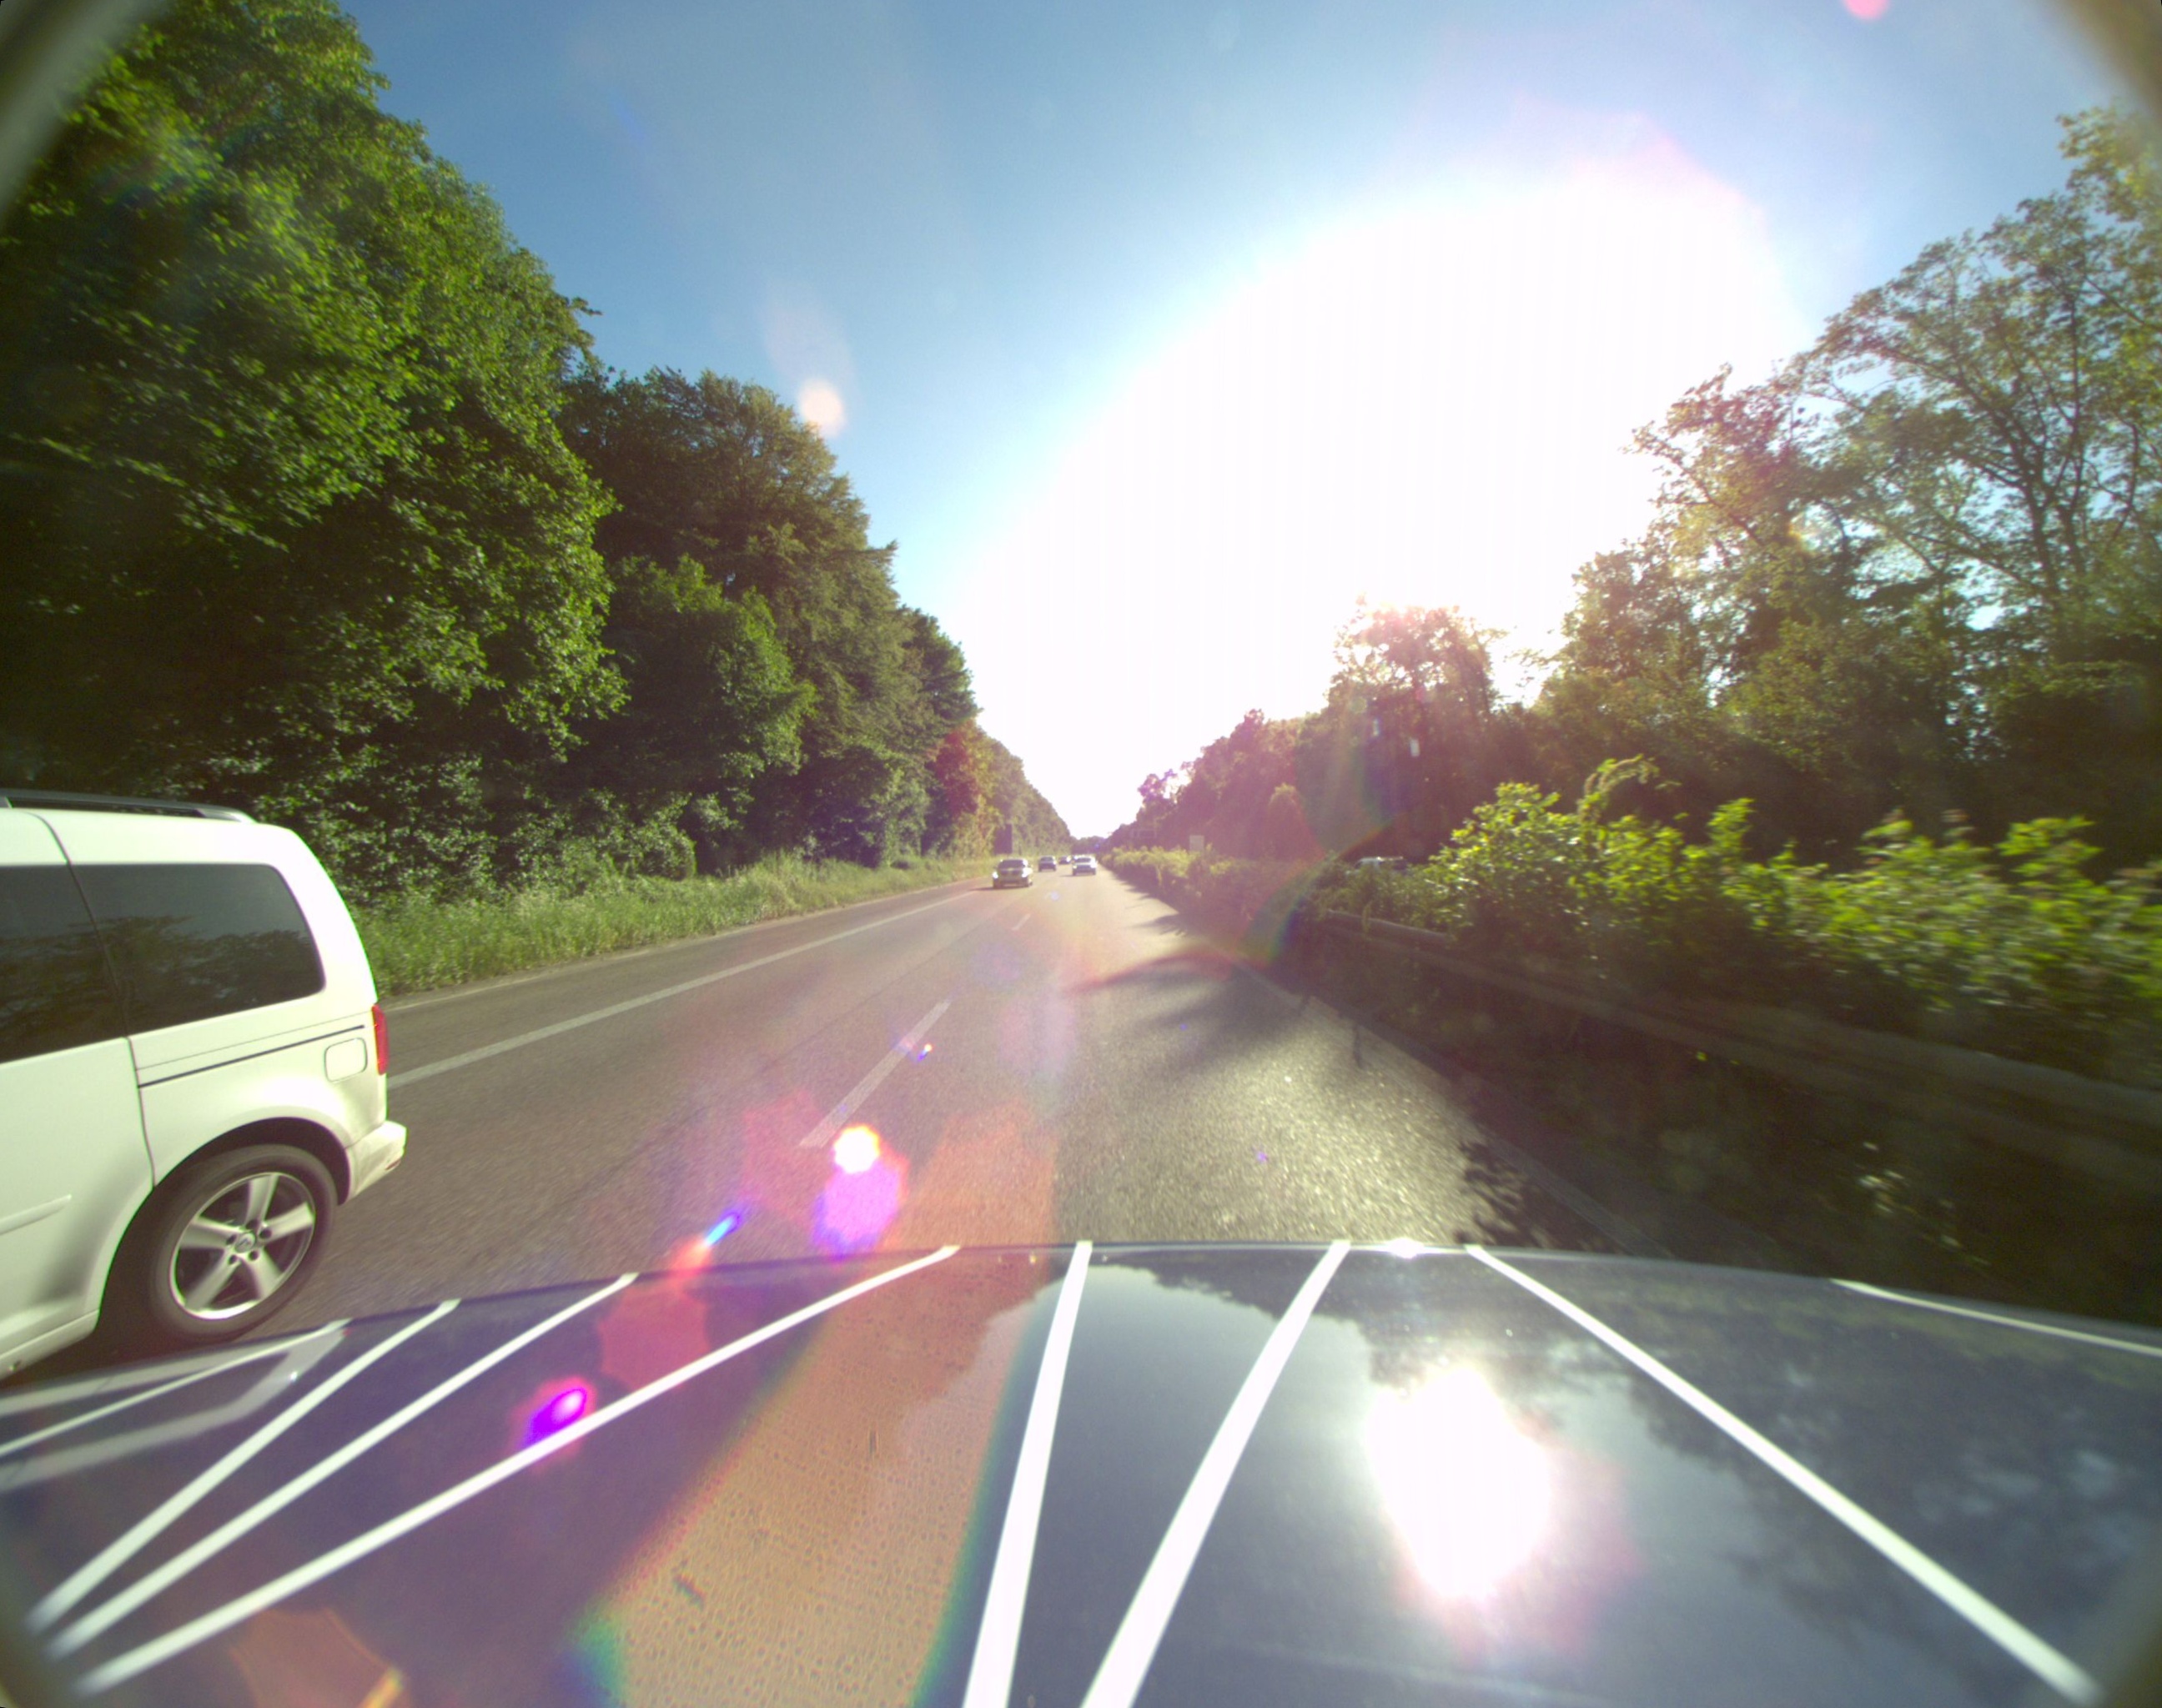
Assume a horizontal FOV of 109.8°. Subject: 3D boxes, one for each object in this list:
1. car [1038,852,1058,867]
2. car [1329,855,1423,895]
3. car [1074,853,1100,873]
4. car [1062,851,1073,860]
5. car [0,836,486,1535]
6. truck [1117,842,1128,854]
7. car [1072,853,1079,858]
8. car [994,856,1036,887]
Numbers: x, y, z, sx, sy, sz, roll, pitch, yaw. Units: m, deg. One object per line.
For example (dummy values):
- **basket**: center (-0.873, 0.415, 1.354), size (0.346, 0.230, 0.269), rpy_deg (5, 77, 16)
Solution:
- **car**: center (-3.344, 0.522, 77.730), size (1.795, 1.440, 3.877), rpy_deg (-2, 0, 0)
- **car**: center (11.730, 0.796, 30.559), size (1.999, 1.441, 4.338), rpy_deg (-1, 0, -1)
- **car**: center (0.496, 0.693, 59.242), size (1.890, 1.440, 3.877), rpy_deg (-2, 0, 1)
- **car**: center (-2.245, 0.268, 129.197), size (1.795, 1.440, 3.877), rpy_deg (-2, 0, 0)
- **car**: center (-3.722, 0.897, 1.238), size (1.803, 1.802, 4.587), rpy_deg (-2, 1, 0)
- **truck**: center (14.823, -2.038, 270.520), size (3.251, 3.989, 14.450), rpy_deg (-2, 0, 0)
- **car**: center (-1.476, 0.376, 206.830), size (1.795, 1.440, 3.877), rpy_deg (-2, 0, 0)
- **car**: center (-3.369, 0.873, 39.356), size (1.795, 1.440, 3.877), rpy_deg (-2, 0, 0)
